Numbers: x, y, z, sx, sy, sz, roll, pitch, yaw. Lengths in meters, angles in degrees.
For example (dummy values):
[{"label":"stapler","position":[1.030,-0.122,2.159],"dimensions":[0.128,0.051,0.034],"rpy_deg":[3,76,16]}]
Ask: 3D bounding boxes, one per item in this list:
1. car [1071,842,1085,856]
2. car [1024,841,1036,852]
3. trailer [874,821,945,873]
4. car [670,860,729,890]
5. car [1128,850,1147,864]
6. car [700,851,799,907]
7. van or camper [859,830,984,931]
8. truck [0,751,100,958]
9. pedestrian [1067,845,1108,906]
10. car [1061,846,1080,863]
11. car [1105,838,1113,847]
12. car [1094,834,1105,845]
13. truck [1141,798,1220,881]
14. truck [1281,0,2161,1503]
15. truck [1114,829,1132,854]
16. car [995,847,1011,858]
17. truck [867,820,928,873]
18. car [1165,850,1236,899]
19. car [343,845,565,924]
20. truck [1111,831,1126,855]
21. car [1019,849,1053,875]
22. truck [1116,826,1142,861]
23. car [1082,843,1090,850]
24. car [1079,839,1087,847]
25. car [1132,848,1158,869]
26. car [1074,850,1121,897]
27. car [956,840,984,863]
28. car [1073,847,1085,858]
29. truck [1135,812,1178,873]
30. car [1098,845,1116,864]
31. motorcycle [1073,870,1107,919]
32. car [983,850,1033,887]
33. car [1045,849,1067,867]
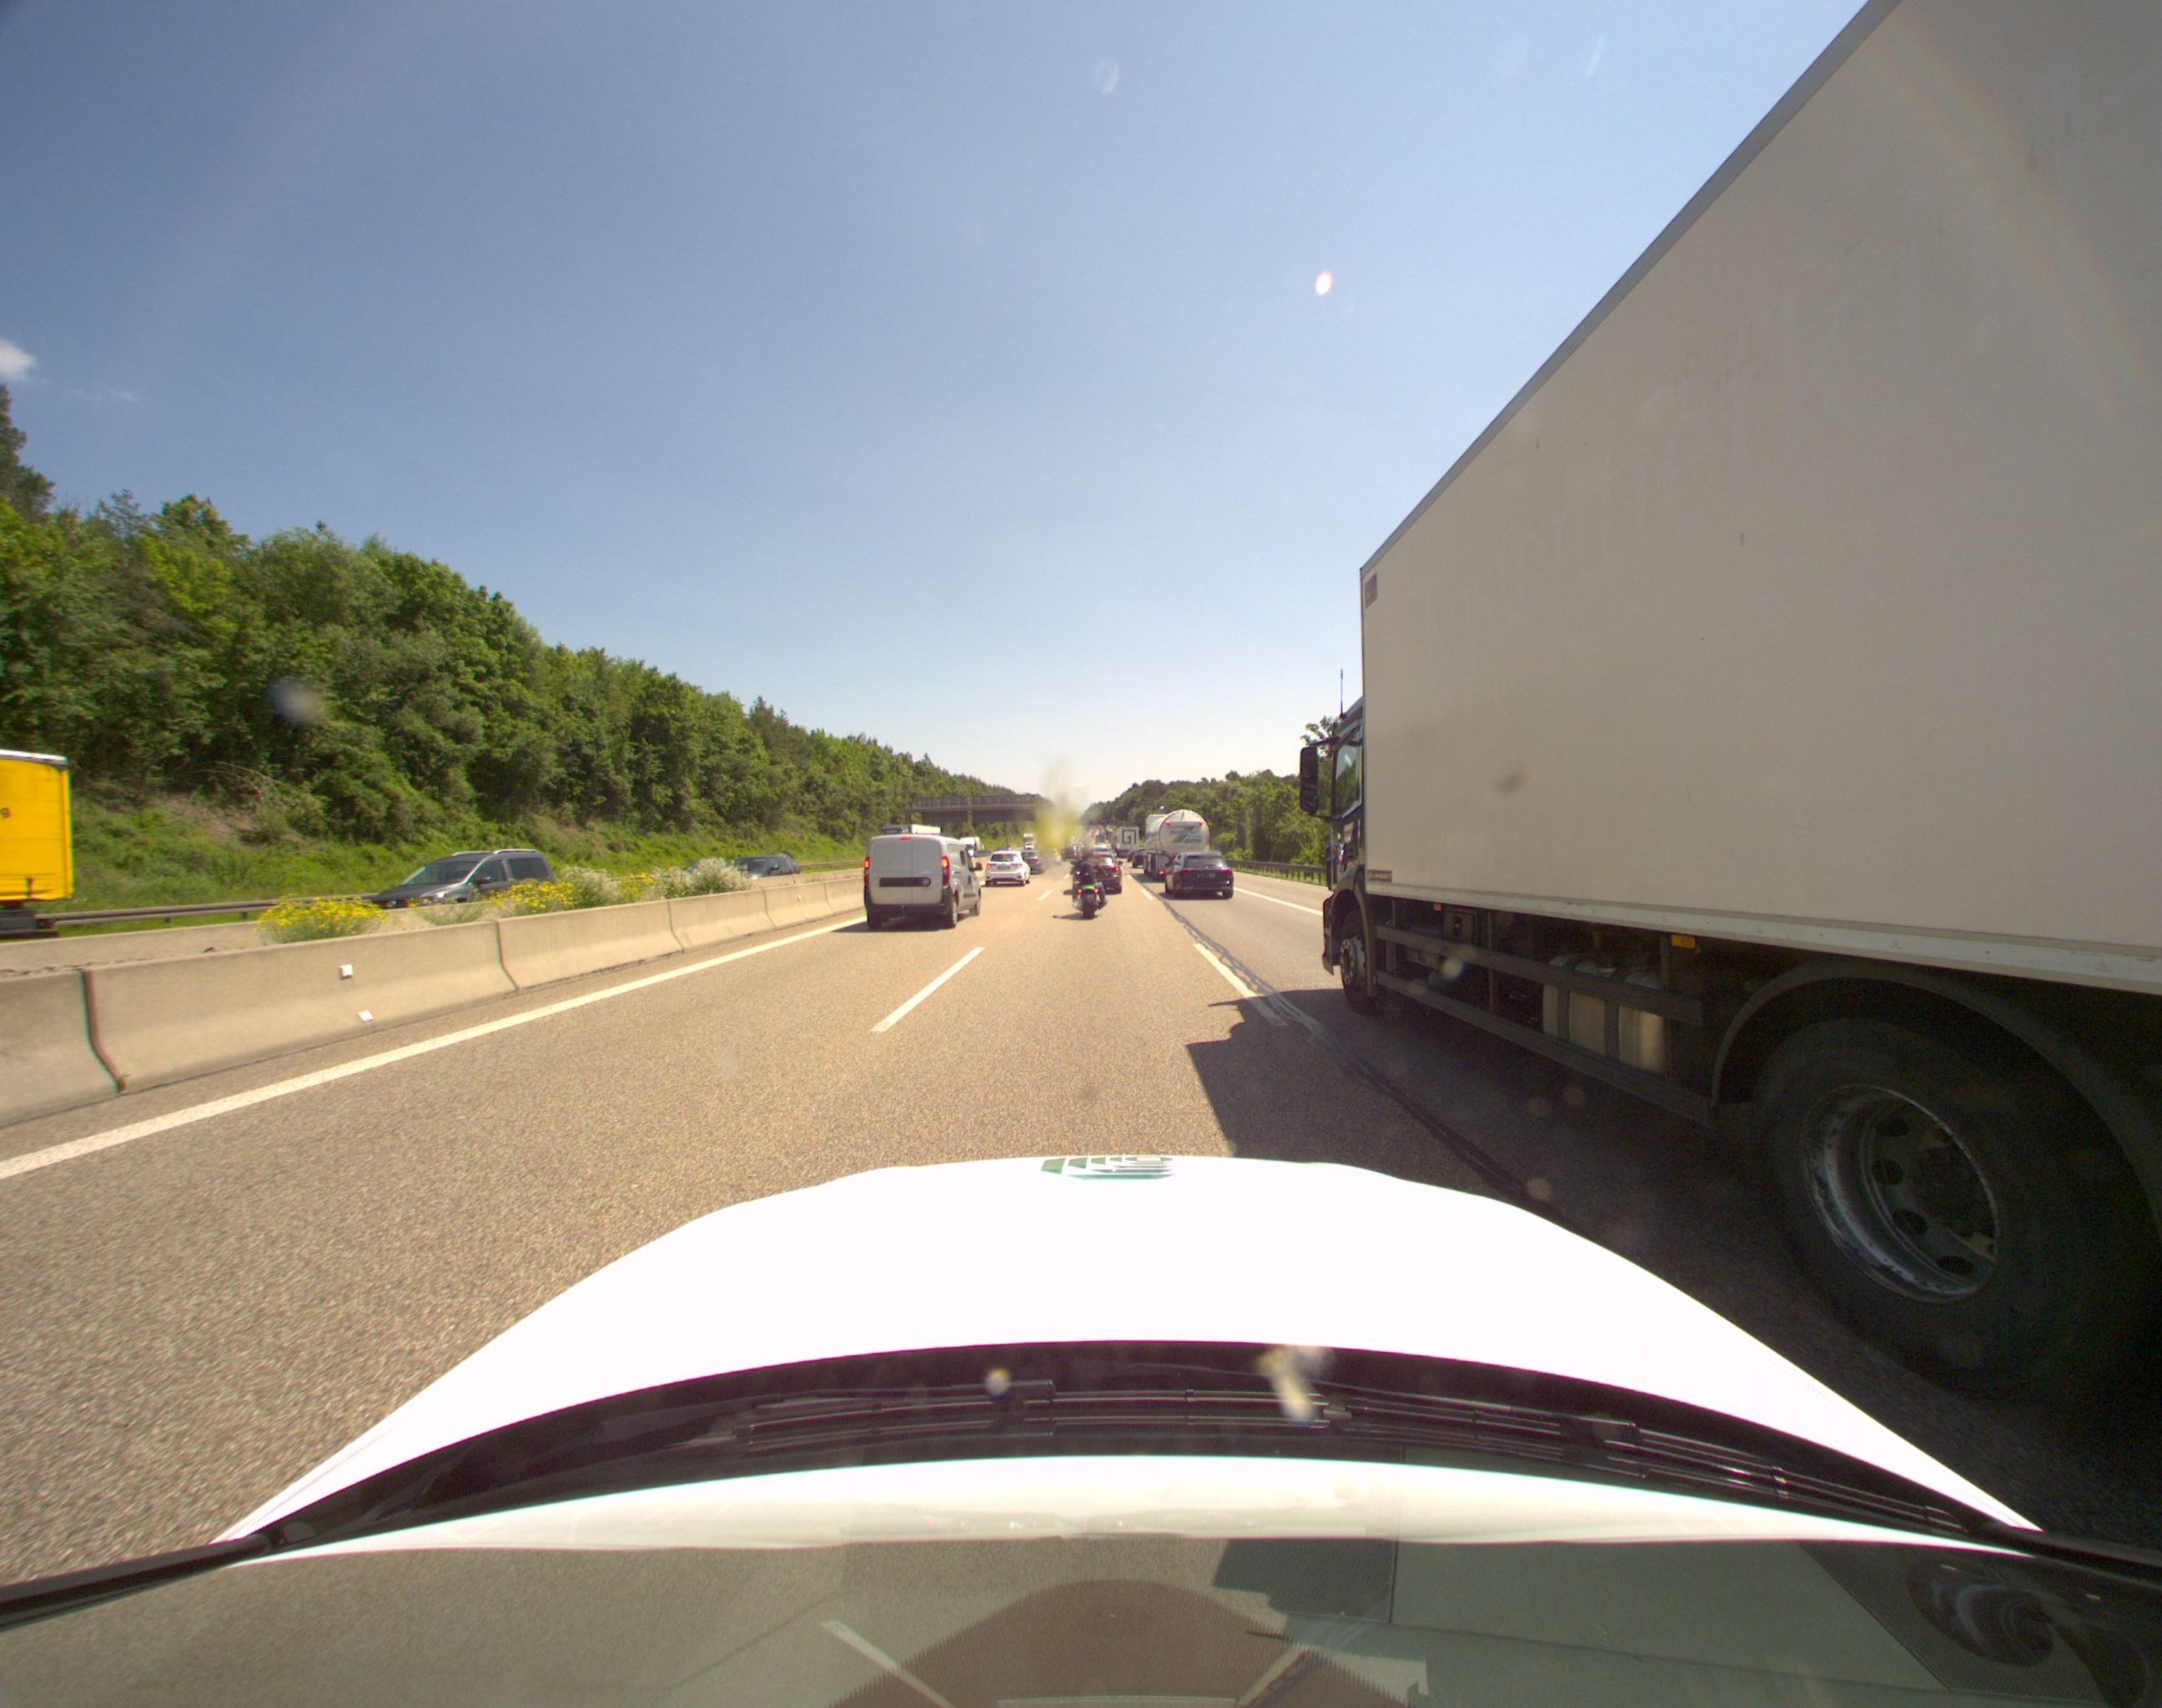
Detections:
[{"label":"car","position":[-0.463,-0.778,127.847],"dimensions":[1.922,2.013,4.002],"rpy_deg":[-3,-1,2]},{"label":"car","position":[-10.884,-1.575,174.001],"dimensions":[1.873,2.013,4.470],"rpy_deg":[-5,-1,2]},{"label":"trailer","position":[-16.991,-0.599,82.138],"dimensions":[3.711,4.528,13.334],"rpy_deg":[-3,-1,1]},{"label":"car","position":[-21.173,1.129,45.375],"dimensions":[1.404,1.508,3.709],"rpy_deg":[-1,0,2]},{"label":"car","position":[5.975,0.297,86.591],"dimensions":[1.780,1.374,3.804],"rpy_deg":[-2,0,1]},{"label":"car","position":[-10.819,0.793,26.821],"dimensions":[1.636,1.627,3.544],"rpy_deg":[-3,-1,2]},{"label":"van or camper","position":[-3.311,0.526,17.743],"dimensions":[1.789,1.892,4.161],"rpy_deg":[-1,-1,1]},{"label":"truck","position":[-22.397,0.011,9.038],"dimensions":[3.026,3.983,16.268],"rpy_deg":[-2,-1,1]},{"label":"pedestrian","position":[0.160,0.486,19.161],"dimensions":[0.846,1.361,0.962],"rpy_deg":[-3,0,2]},{"label":"car","position":[-1.122,0.072,90.762],"dimensions":[1.873,1.859,4.002],"rpy_deg":[-1,0,2]},{"label":"car","position":[7.294,-3.065,215.017],"dimensions":[1.986,2.013,4.001],"rpy_deg":[-3,-1,2]},{"label":"car","position":[4.394,-3.502,196.406],"dimensions":[2.495,2.587,5.018],"rpy_deg":[-1,0,1]},{"label":"truck","position":[4.937,-0.647,42.270],"dimensions":[2.977,3.671,9.290],"rpy_deg":[-3,-1,1]},{"label":"truck","position":[3.578,-0.655,4.305],"dimensions":[2.678,3.876,9.784],"rpy_deg":[-4,0,2]},{"label":"truck","position":[7.609,-2.259,149.381],"dimensions":[3.022,4.542,9.986],"rpy_deg":[0,0,1]},{"label":"car","position":[-11.471,-0.189,119.891],"dimensions":[1.873,1.593,4.001],"rpy_deg":[-2,0,1]},{"label":"truck","position":[-17.157,-0.655,76.812],"dimensions":[3.712,4.528,7.326],"rpy_deg":[-3,-1,1]},{"label":"car","position":[3.838,0.616,26.785],"dimensions":[1.822,1.470,4.001],"rpy_deg":[-1,0,1]},{"label":"car","position":[-14.587,0.653,19.341],"dimensions":[1.679,1.558,4.423],"rpy_deg":[-3,-1,2]},{"label":"truck","position":[8.209,-2.344,180.192],"dimensions":[3.022,5.139,9.986],"rpy_deg":[0,0,1]},{"label":"car","position":[-2.733,0.477,50.076],"dimensions":[1.693,1.478,4.001],"rpy_deg":[-2,0,1]},{"label":"truck","position":[6.391,-1.393,109.672],"dimensions":[3.022,4.542,9.986],"rpy_deg":[0,0,1]},{"label":"car","position":[1.438,-2.081,235.604],"dimensions":[1.986,2.013,4.002],"rpy_deg":[-1,0,2]},{"label":"car","position":[0.439,-2.994,215.144],"dimensions":[1.986,2.013,4.001],"rpy_deg":[-1,0,1]},{"label":"car","position":[4.975,0.314,63.884],"dimensions":[1.780,1.555,3.804],"rpy_deg":[-2,0,1]},{"label":"car","position":[0.583,0.652,29.790],"dimensions":[1.527,1.510,4.000],"rpy_deg":[-3,0,1]},{"label":"car","position":[-12.490,-0.312,92.202],"dimensions":[1.986,2.377,7.367],"rpy_deg":[-1,0,1]},{"label":"car","position":[-0.299,-0.284,152.533],"dimensions":[1.986,2.013,4.001],"rpy_deg":[-3,-1,2]},{"label":"truck","position":[4.648,-0.665,51.038],"dimensions":[1.988,3.522,4.749],"rpy_deg":[-3,-1,-1]},{"label":"car","position":[2.955,0.063,92.626],"dimensions":[1.986,2.013,4.001],"rpy_deg":[-3,-1,2]},{"label":"motorcycle","position":[0.228,0.915,19.079],"dimensions":[0.688,1.015,2.123],"rpy_deg":[-1,0,3]},{"label":"car","position":[-3.150,0.591,35.714],"dimensions":[1.693,1.478,4.001],"rpy_deg":[-2,0,1]},{"label":"car","position":[-2.242,0.317,73.199],"dimensions":[1.693,1.478,4.001],"rpy_deg":[-2,0,1]}]
